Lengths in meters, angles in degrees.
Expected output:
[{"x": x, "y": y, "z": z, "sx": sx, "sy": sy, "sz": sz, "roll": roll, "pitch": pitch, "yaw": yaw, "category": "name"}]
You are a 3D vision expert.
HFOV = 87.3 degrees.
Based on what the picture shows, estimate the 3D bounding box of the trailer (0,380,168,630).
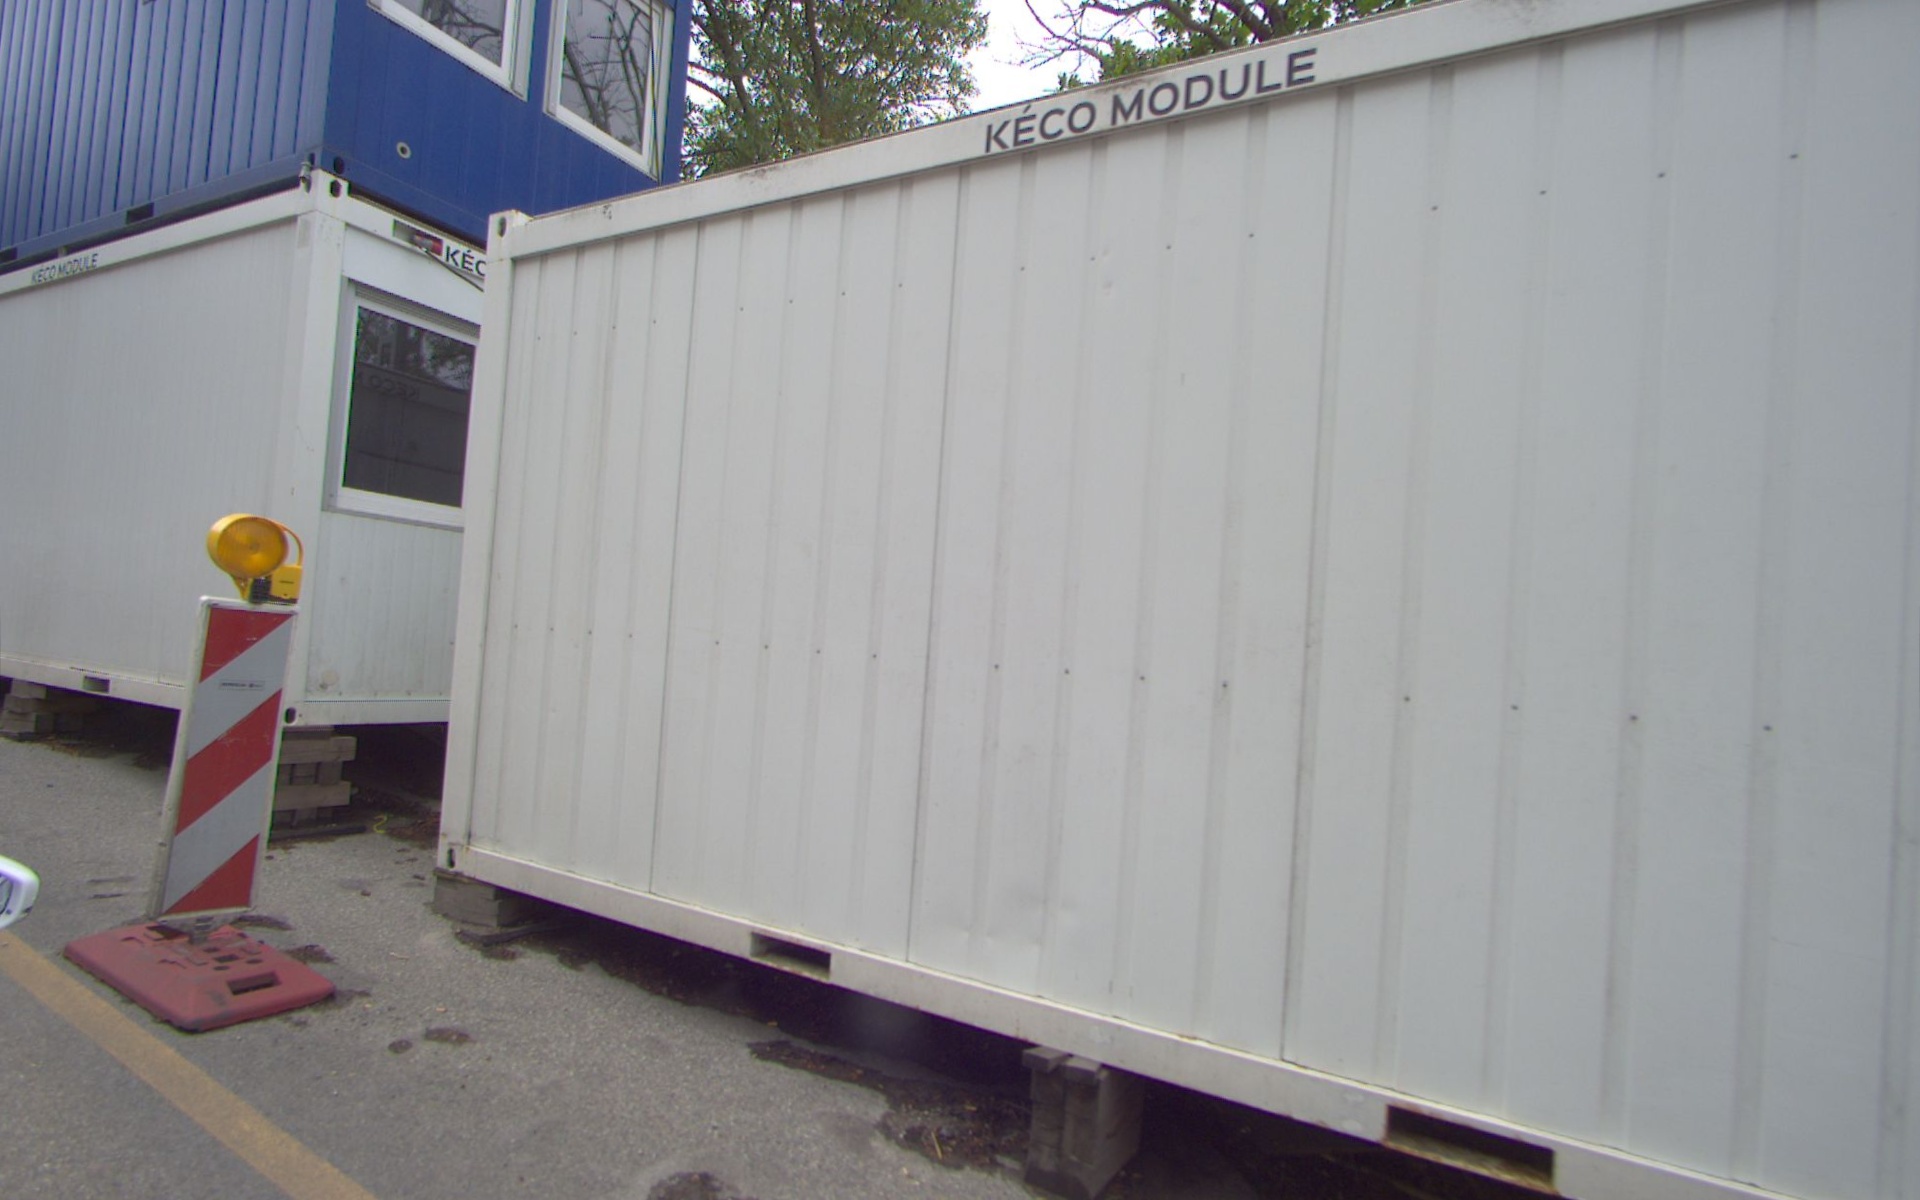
[{"x": -12.156, "y": -1.247, "z": 11.938, "sx": 5.026, "sy": 2.582, "sz": 2.111, "roll": 7, "pitch": 1, "yaw": 24, "category": "trailer"}]
